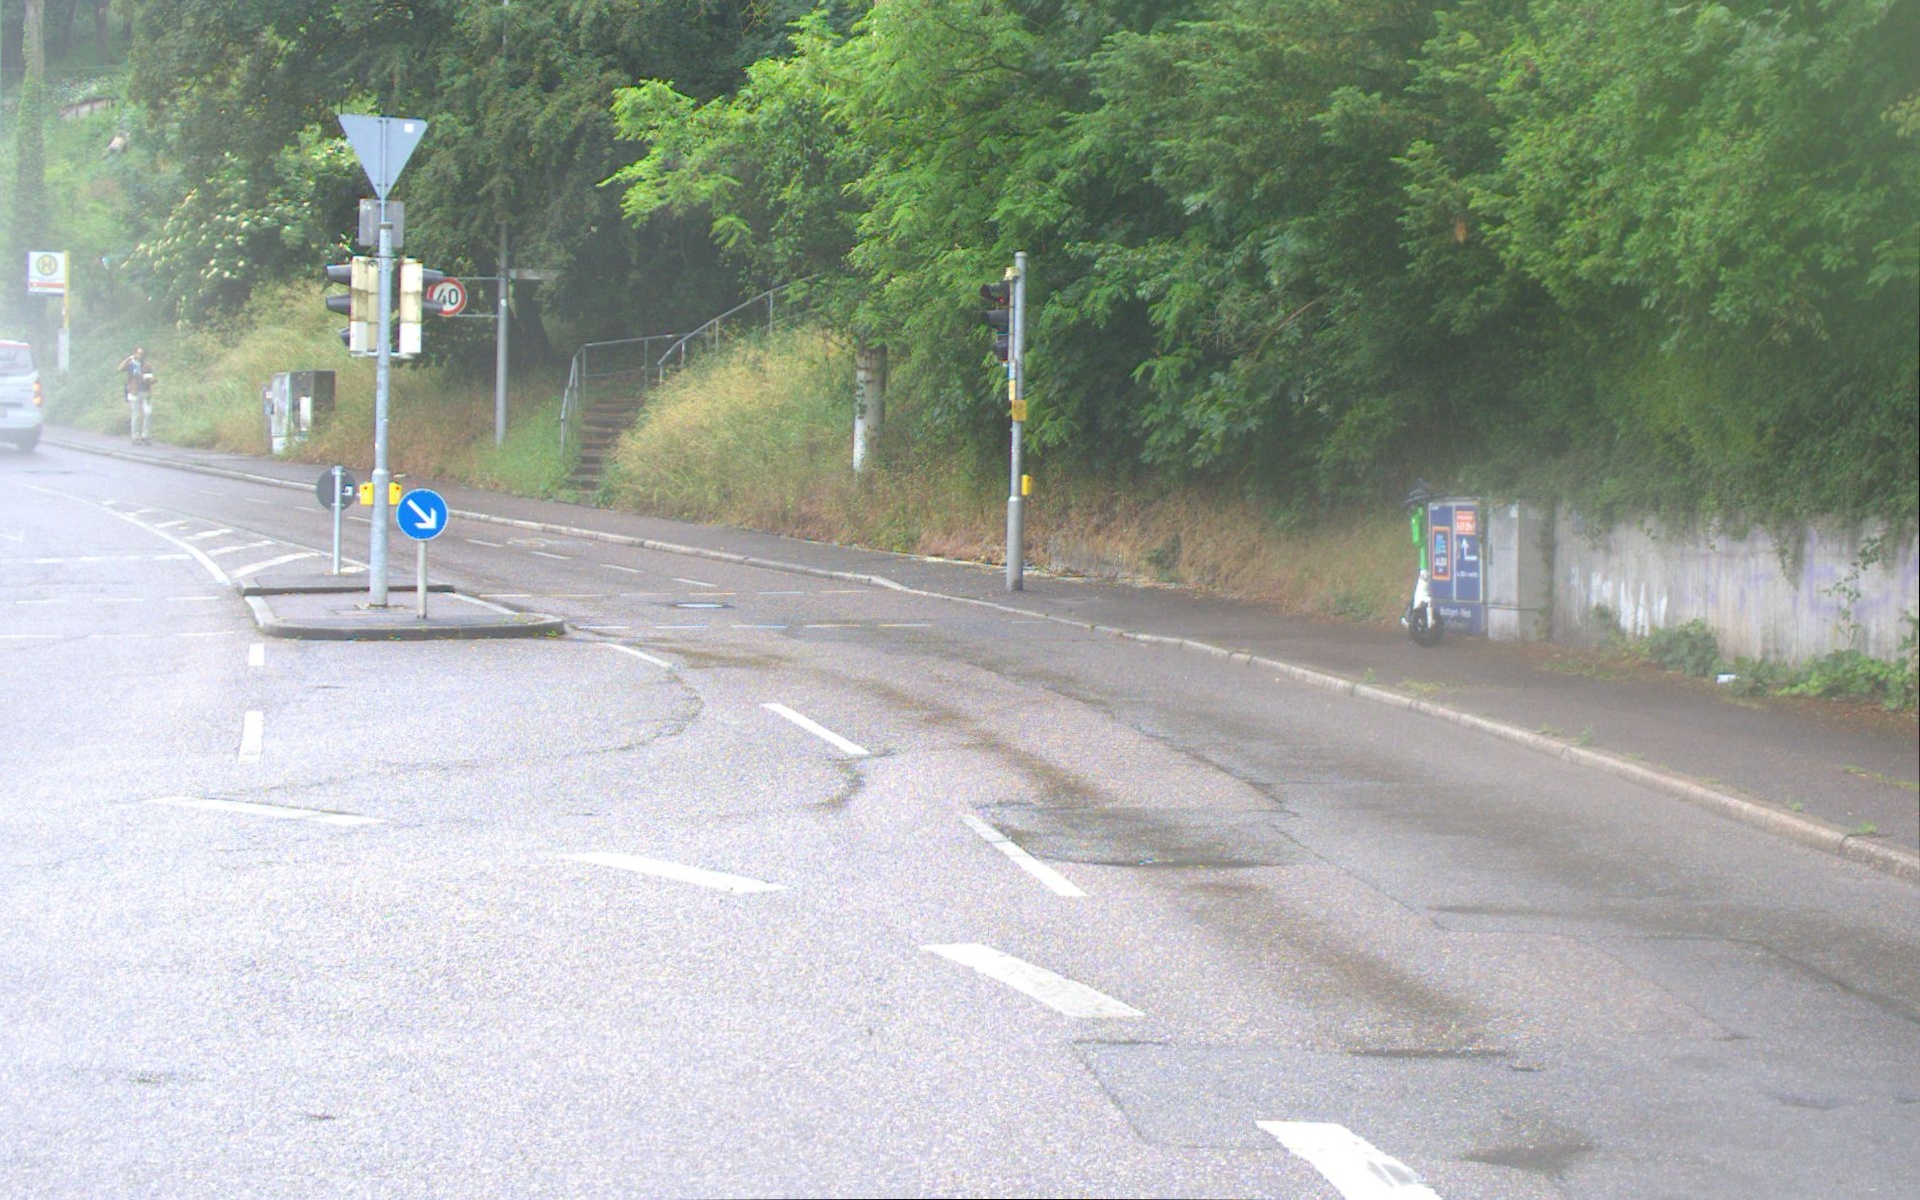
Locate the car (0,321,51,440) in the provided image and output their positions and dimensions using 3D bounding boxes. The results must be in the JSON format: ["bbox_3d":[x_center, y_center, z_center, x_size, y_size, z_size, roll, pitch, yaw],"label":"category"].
[{"bbox_3d":[-17.786,-3.848,60.699,2.066,1.999,4.815,0,2,-31],"label":"car"}]

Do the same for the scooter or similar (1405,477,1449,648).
[{"bbox_3d":[3.594,-0.296,26.473,0.322,1.275,0.751,0,4,7],"label":"scooter or similar"}]

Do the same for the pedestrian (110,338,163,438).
[{"bbox_3d":[-14.855,-3.821,62.004,0.880,1.730,0.866,0,0,-17],"label":"pedestrian"}]
